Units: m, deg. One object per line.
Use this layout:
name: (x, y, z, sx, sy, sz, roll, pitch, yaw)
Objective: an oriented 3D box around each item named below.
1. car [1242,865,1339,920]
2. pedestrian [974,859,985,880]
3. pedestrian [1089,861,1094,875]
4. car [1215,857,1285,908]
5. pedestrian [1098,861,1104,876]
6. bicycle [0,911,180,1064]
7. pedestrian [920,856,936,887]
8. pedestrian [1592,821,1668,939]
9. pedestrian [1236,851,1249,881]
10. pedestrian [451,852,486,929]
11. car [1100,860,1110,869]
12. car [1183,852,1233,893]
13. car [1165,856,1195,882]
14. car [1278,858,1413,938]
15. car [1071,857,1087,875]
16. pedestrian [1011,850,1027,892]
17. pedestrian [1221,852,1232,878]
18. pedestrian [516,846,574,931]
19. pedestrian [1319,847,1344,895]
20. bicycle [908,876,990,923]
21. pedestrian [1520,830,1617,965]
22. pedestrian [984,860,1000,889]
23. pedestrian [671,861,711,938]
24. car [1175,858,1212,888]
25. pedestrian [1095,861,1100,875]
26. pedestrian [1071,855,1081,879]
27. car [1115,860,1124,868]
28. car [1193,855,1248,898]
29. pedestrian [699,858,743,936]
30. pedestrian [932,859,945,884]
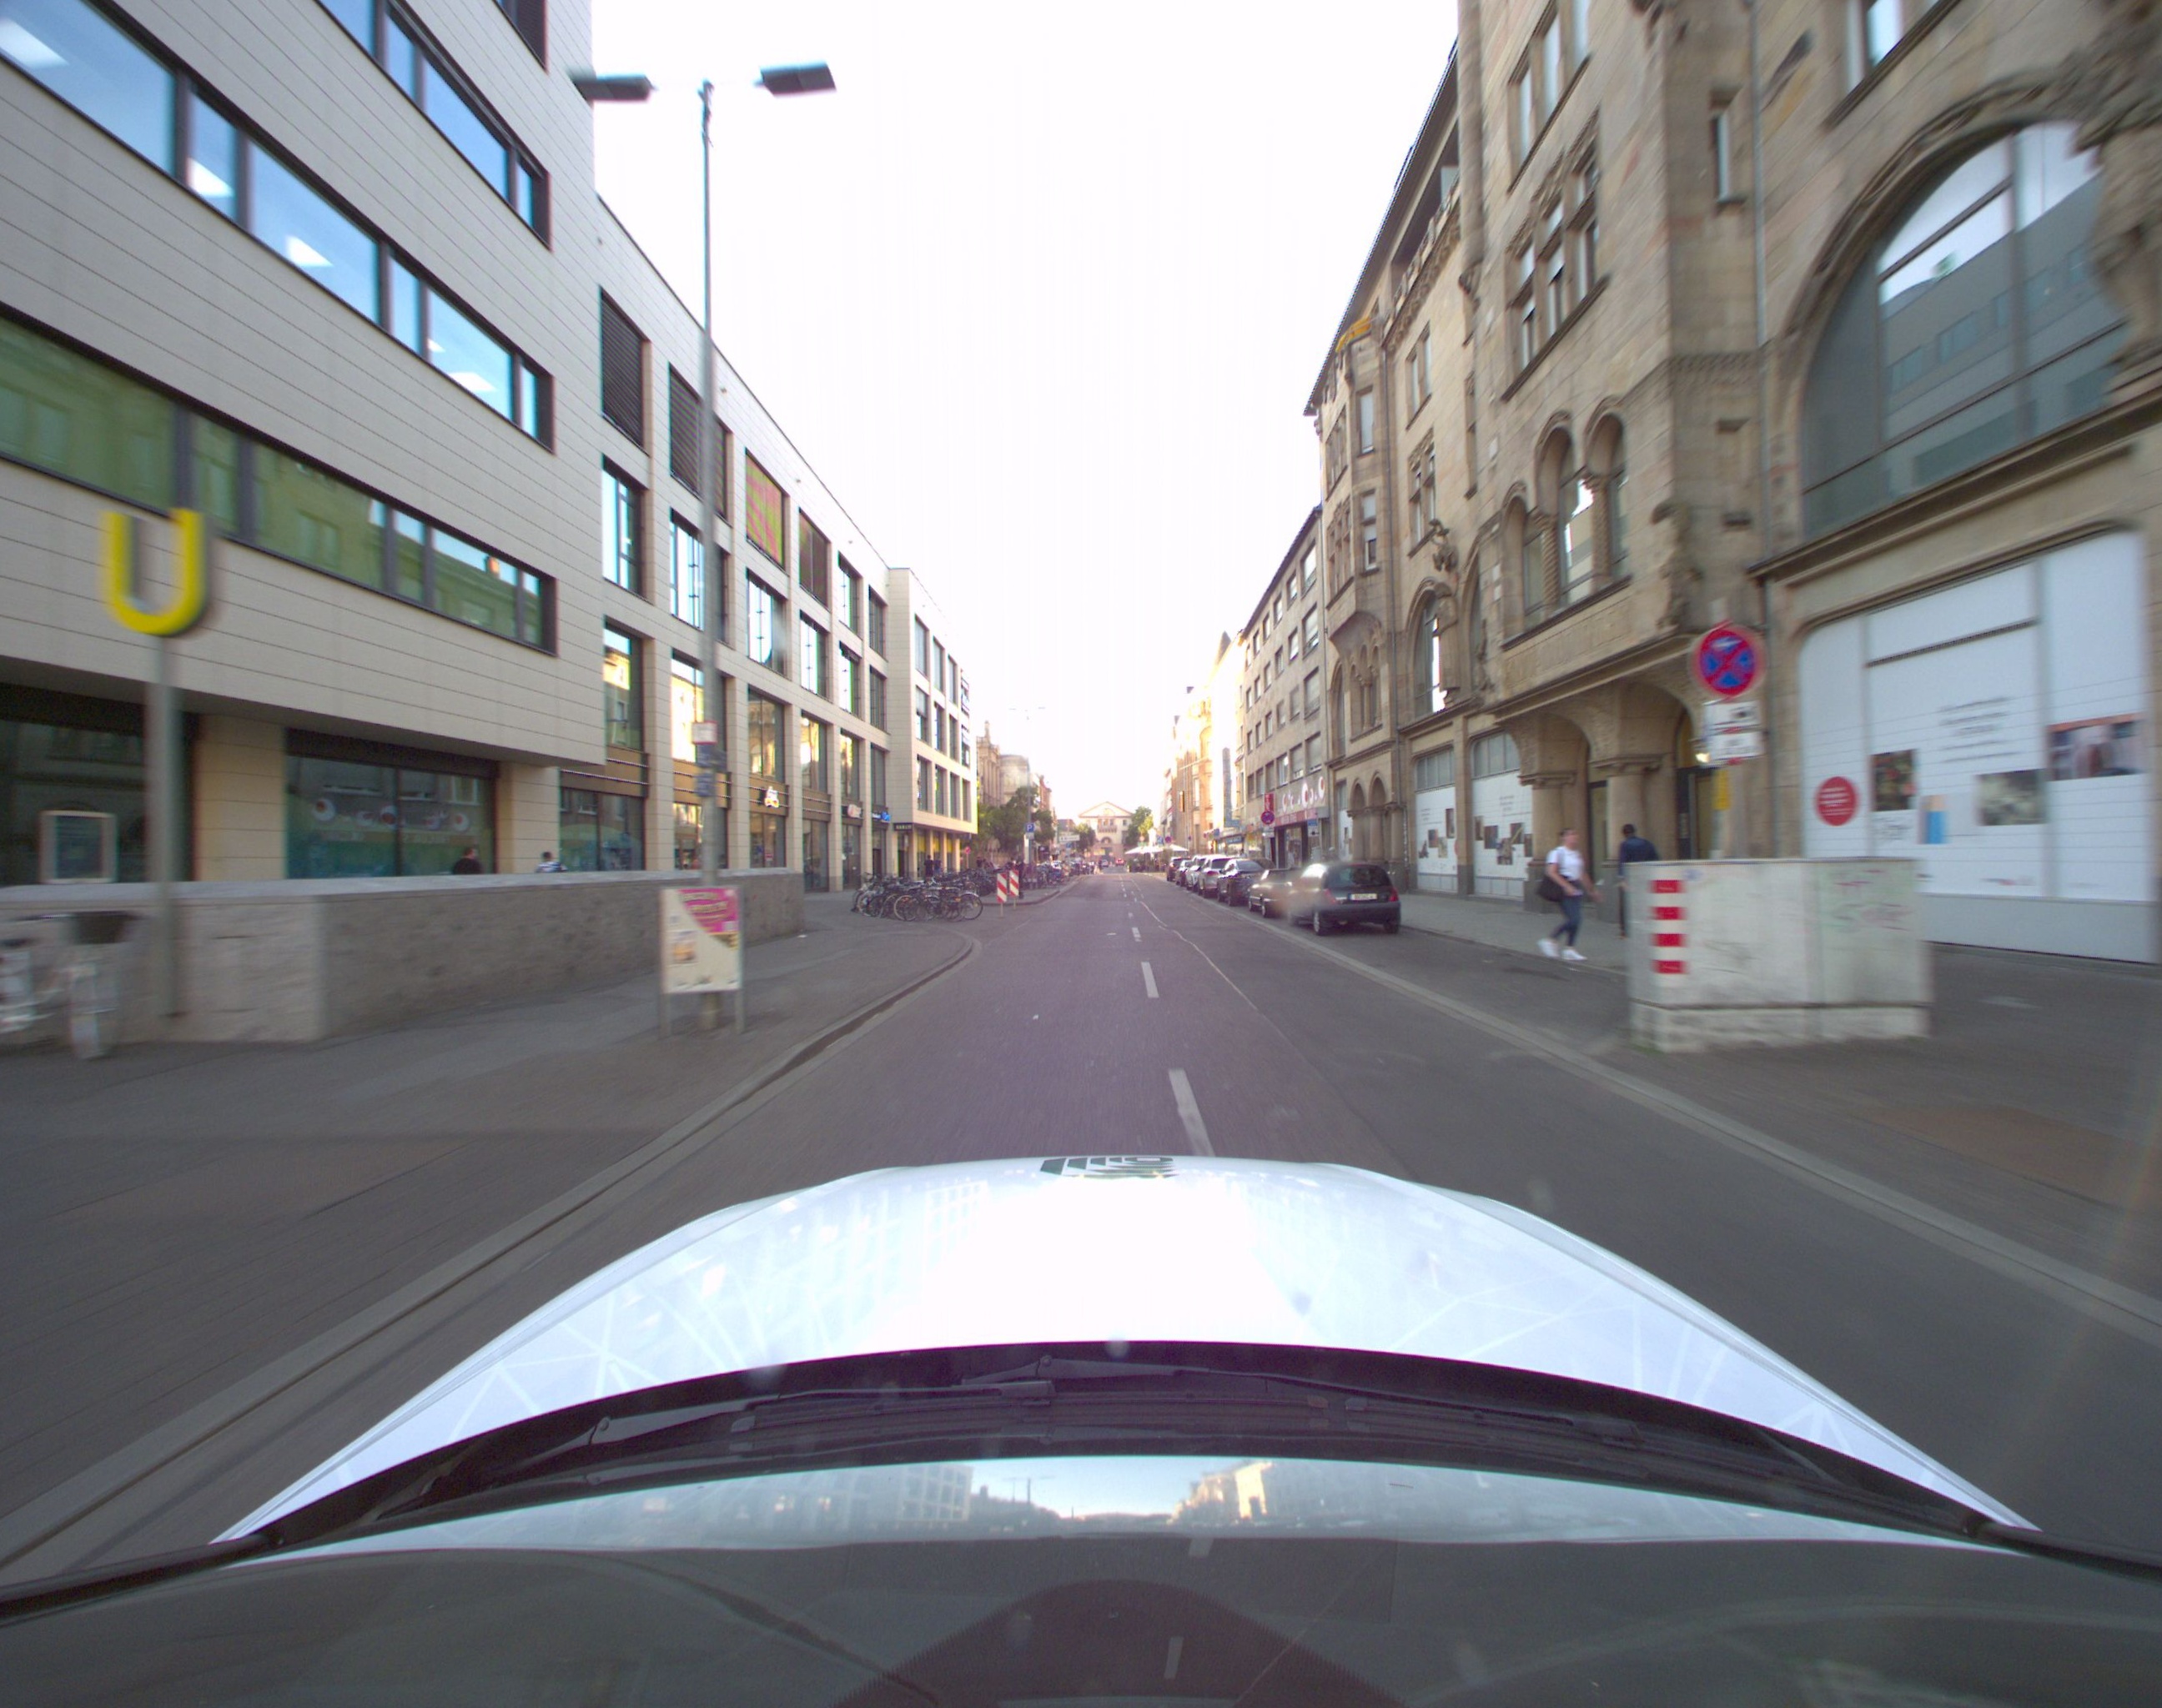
car: (5.614, 0.980, 22.283, 1.672, 1.291, 4.048, -2, -1, 2)
pedestrian: (-7.854, 1.190, 63.081, 0.677, 1.621, 0.574, -1, -1, 1)
pedestrian: (1.113, 1.492, 85.205, 0.547, 1.486, 0.565, -1, -1, 0)
car: (5.640, 0.918, 27.538, 1.672, 1.547, 3.674, -2, -1, 2)
pedestrian: (2.083, 1.487, 84.487, 0.547, 1.486, 0.565, -1, -1, 0)
bicycle: (-8.171, 1.026, 6.432, 1.688, 1.122, 0.451, 0, -1, 4)
pedestrian: (-8.031, 0.928, 42.836, 0.677, 1.621, 0.574, -1, -1, 1)
pedestrian: (8.155, 0.373, 12.124, 0.623, 1.690, 0.671, -2, -1, 0)
pedestrian: (9.920, 0.758, 50.060, 0.641, 1.800, 0.671, -2, -1, 0)
pedestrian: (-12.234, 0.717, 16.287, 0.391, 1.515, 0.503, -1, -1, -16)
car: (4.901, 2.101, 165.634, 1.986, 1.904, 4.001, 0, -1, 2)
car: (6.095, 0.867, 39.512, 1.792, 1.768, 4.399, -2, -1, 2)
car: (6.764, 0.987, 55.766, 1.672, 1.666, 3.674, -2, -1, 2)
car: (5.379, 0.840, 17.028, 1.672, 1.424, 3.674, -2, -1, 2)
car: (-0.196, 1.390, 95.373, 1.704, 2.014, 4.002, -1, -1, 2)
pedestrian: (-2.743, 0.755, 36.069, 0.656, 1.823, 0.526, -1, -1, -8)
pedestrian: (9.895, 0.728, 55.429, 0.641, 1.746, 0.671, -2, -1, 0)
pedestrian: (-11.227, 0.722, 17.073, 0.779, 1.751, 0.600, 0, -1, -1)
pedestrian: (9.171, 0.617, 29.820, 0.641, 1.690, 0.671, -2, -1, 0)
bicycle: (-3.339, 1.134, 20.643, 1.978, 1.122, 0.553, 0, -1, -27)
pedestrian: (6.497, 0.565, 10.875, 0.833, 1.721, 0.680, -1, -1, -6)
pedestrian: (-4.817, 1.124, 43.975, 0.748, 1.529, 0.485, -1, -1, 1)
pedestrian: (-8.545, 0.988, 17.880, 0.598, 1.646, 0.546, 0, -1, -1)
car: (6.383, 1.049, 46.449, 1.672, 1.547, 3.674, -2, -1, 2)
pedestrian: (1.737, 1.501, 85.985, 0.547, 1.486, 0.565, -1, -1, 0)
pedestrian: (-0.364, 1.021, 62.739, 0.600, 1.823, 0.449, -1, -1, -18)
car: (8.591, 2.286, 184.083, 1.986, 1.904, 4.001, 0, -1, 2)
car: (5.707, 0.904, 33.682, 1.672, 1.613, 4.030, -2, -1, 2)
pedestrian: (-7.826, 0.923, 17.708, 0.679, 1.681, 0.600, 0, -1, -1)
pedestrian: (-9.587, 1.166, 54.928, 0.728, 1.621, 0.661, -1, -1, 1)
